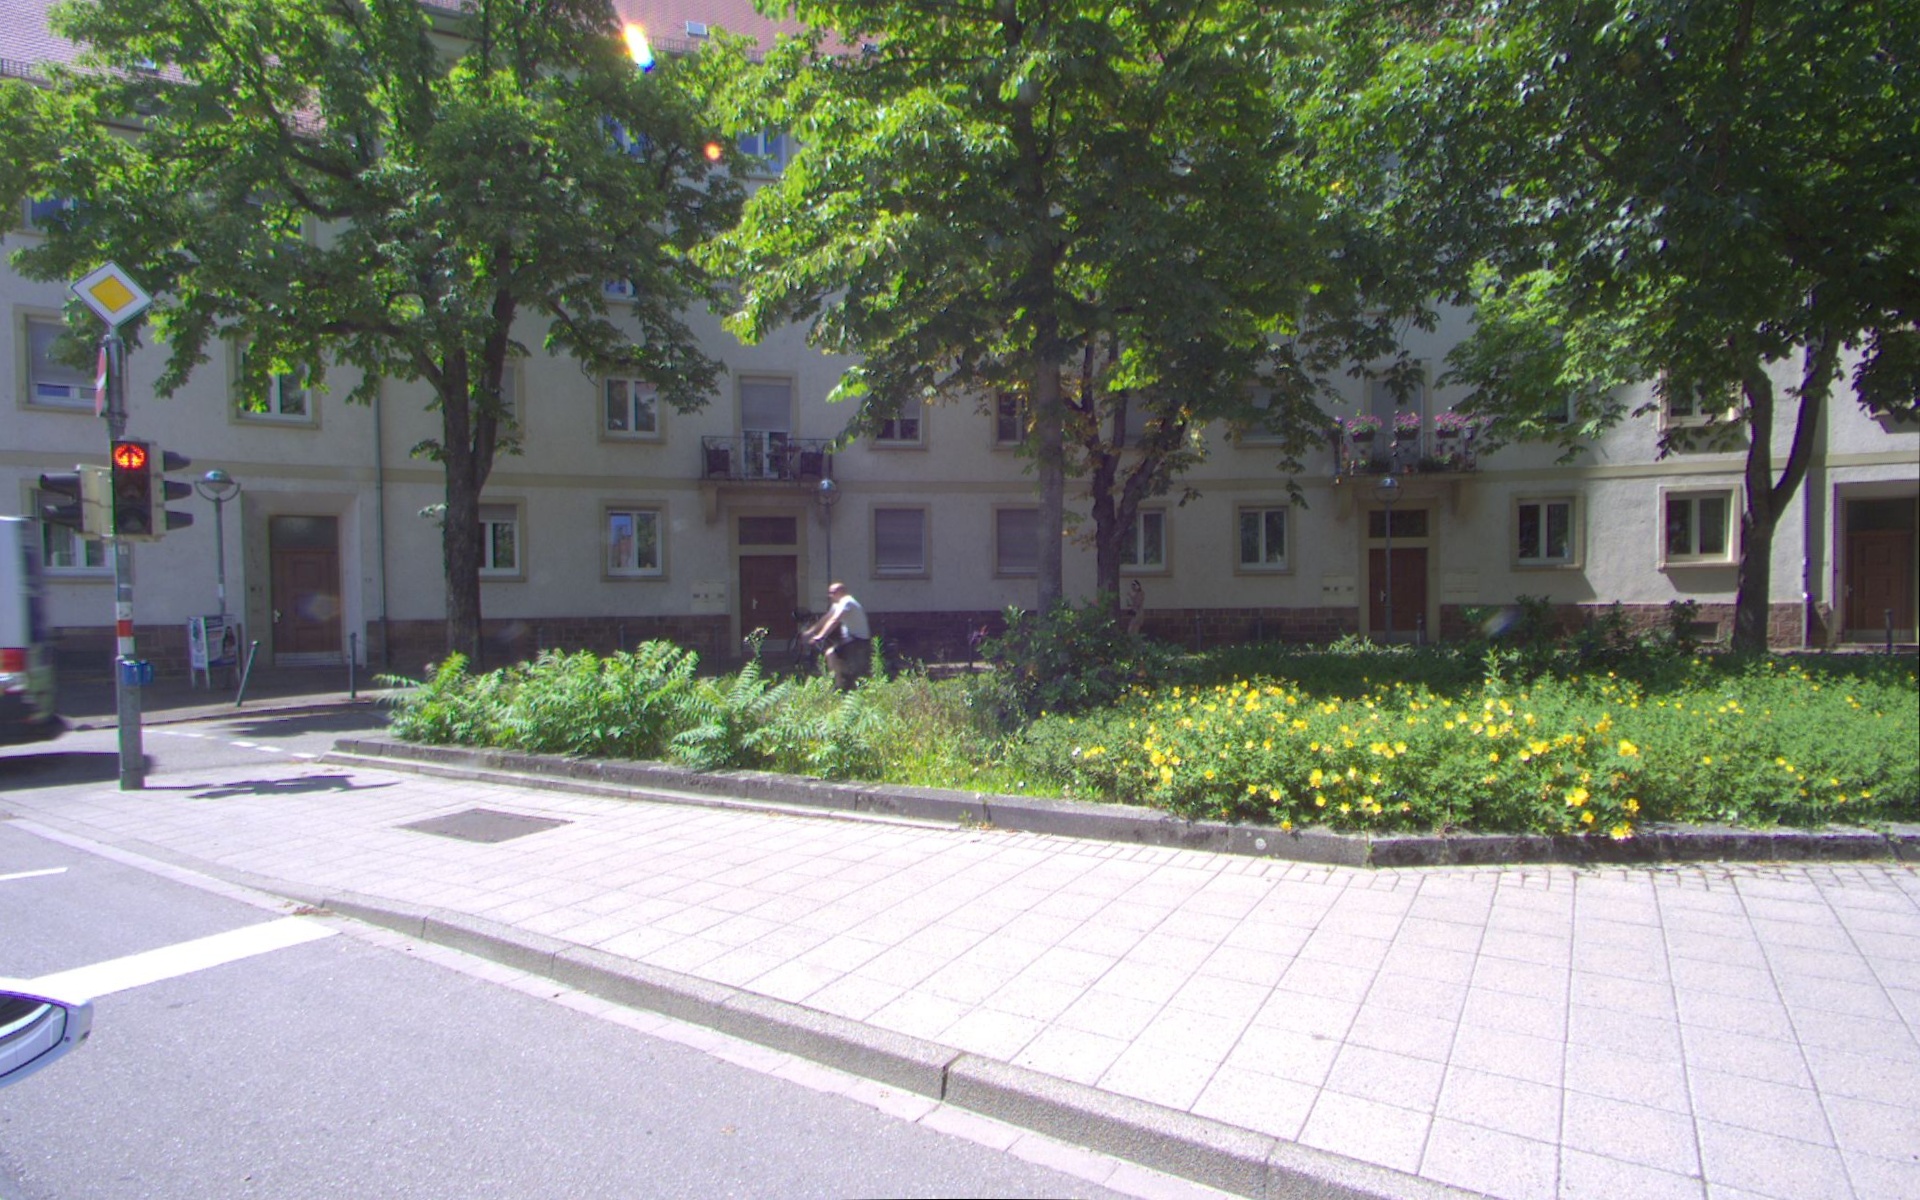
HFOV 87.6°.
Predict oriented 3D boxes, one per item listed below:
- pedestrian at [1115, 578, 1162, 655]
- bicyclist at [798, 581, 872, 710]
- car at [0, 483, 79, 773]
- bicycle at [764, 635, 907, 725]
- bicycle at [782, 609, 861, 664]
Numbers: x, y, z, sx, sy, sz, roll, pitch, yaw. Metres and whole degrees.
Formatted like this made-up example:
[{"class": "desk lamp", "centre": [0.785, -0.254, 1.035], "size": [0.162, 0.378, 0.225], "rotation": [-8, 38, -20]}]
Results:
[{"class": "pedestrian", "centre": [4.127, 0.370, 23.112], "size": [1.037, 1.715, 0.652], "rotation": [1, 7, 13]}, {"class": "bicyclist", "centre": [-1.629, 0.578, 12.999], "size": [0.834, 1.613, 0.699], "rotation": [-1, 0, -17]}, {"class": "car", "centre": [-11.670, 0.243, 8.742], "size": [5.758, 2.707, 2.258], "rotation": [1, -2, -37]}, {"class": "bicycle", "centre": [-1.626, 1.013, 13.020], "size": [1.735, 1.070, 0.699], "rotation": [0, 0, -18]}, {"class": "bicycle", "centre": [-2.877, 0.755, 20.863], "size": [1.575, 1.119, 0.525], "rotation": [-1, 1, -4]}]
